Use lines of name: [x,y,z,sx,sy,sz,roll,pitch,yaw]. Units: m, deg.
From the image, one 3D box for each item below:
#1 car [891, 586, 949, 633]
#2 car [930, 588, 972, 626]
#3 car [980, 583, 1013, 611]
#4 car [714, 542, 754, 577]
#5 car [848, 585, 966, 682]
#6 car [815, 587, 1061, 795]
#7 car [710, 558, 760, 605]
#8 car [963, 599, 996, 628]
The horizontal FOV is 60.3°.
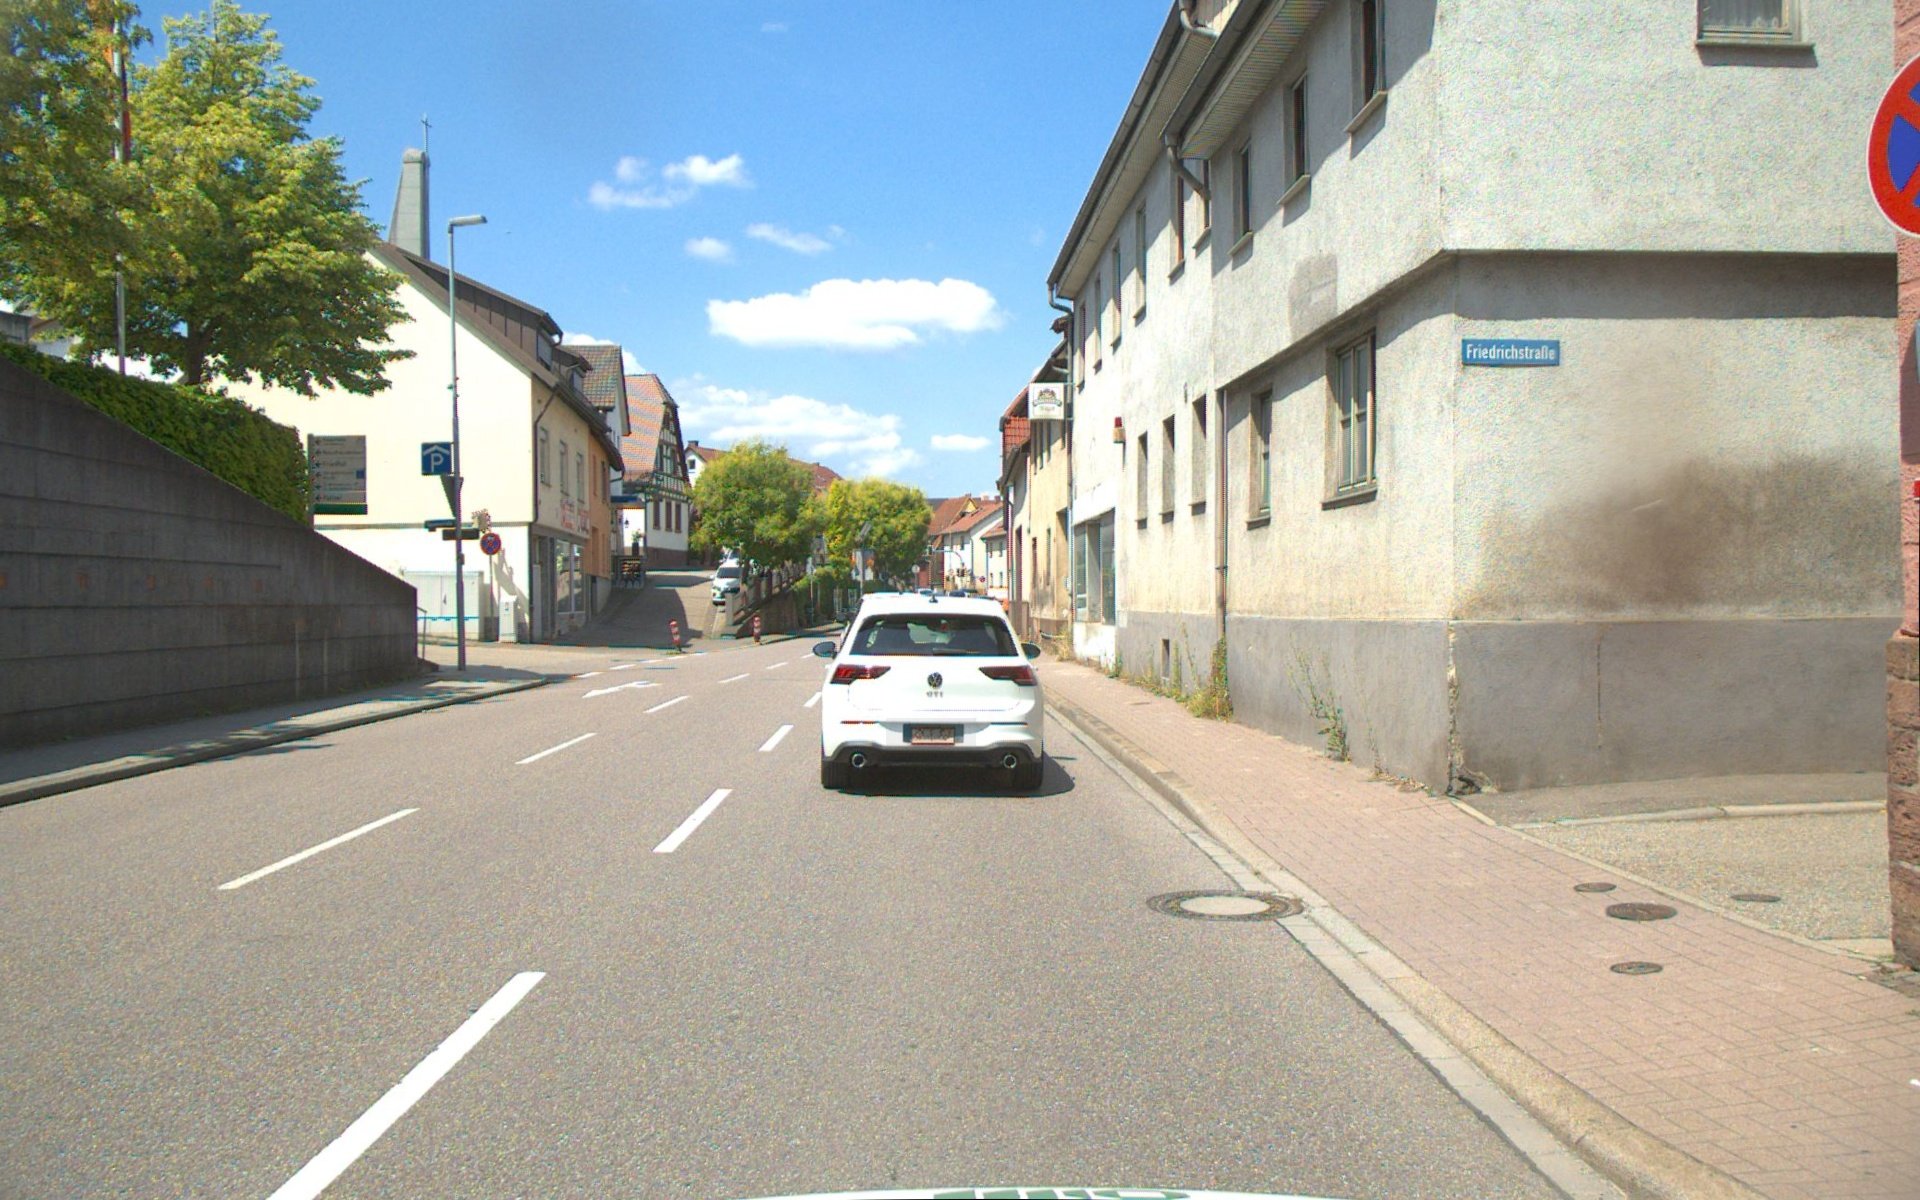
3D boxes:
car: [-1.295,0.305,55.133,1.770,1.493,4.000,0,0,1]
car: [-0.352,0.289,72.461,1.739,1.565,4.000,-1,1,0]
car: [2.478,-0.205,111.934,1.737,1.796,4.003,-1,1,8]
car: [-11.073,-2.006,81.155,1.545,1.385,3.857,-1,6,-2]
car: [-0.952,0.514,27.572,1.772,1.493,3.996,0,0,-5]
car: [-0.154,0.649,13.905,1.771,1.493,4.000,0,0,0]
car: [-9.373,-0.811,69.089,1.659,1.569,3.857,-1,6,-2]
car: [1.176,0.767,95.909,1.738,1.565,4.002,-1,1,3]
